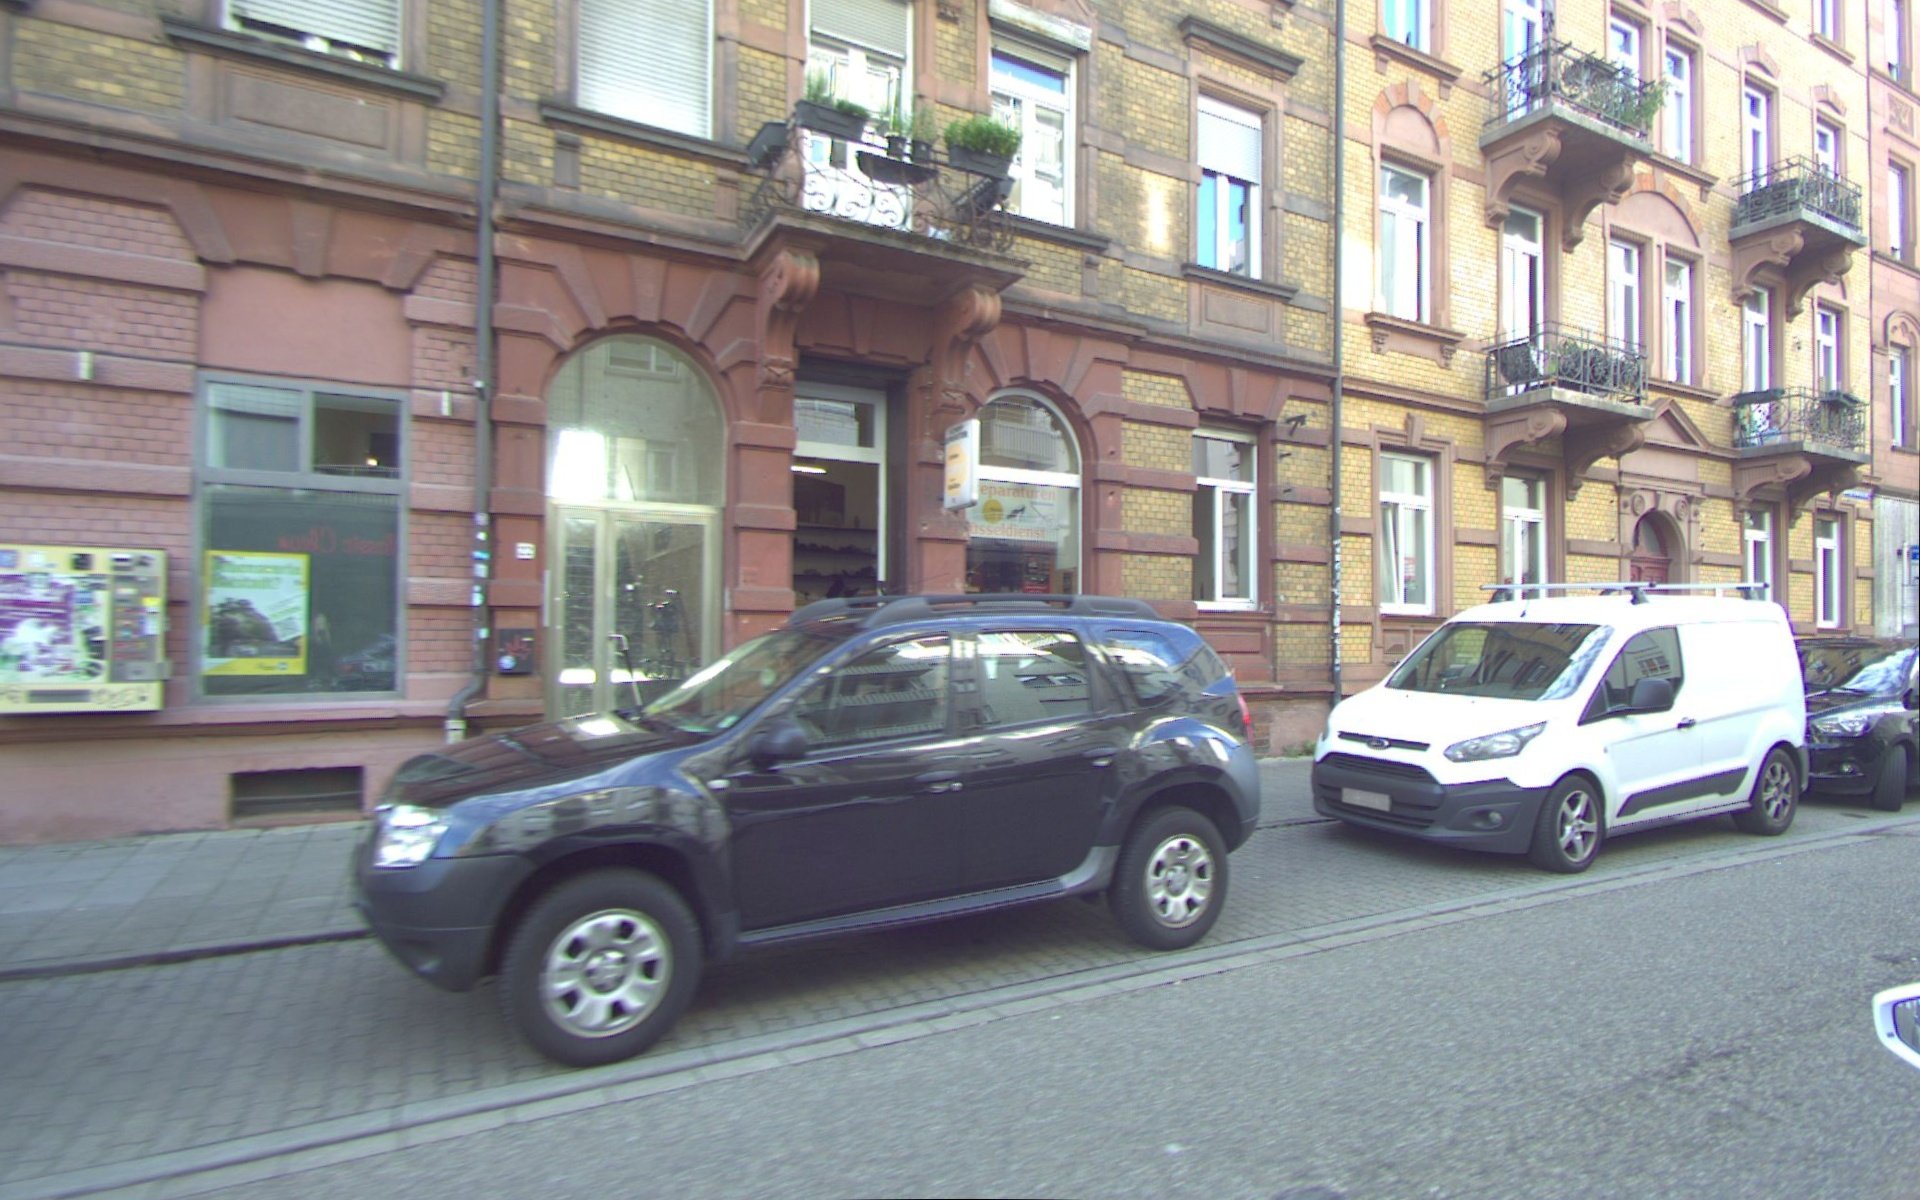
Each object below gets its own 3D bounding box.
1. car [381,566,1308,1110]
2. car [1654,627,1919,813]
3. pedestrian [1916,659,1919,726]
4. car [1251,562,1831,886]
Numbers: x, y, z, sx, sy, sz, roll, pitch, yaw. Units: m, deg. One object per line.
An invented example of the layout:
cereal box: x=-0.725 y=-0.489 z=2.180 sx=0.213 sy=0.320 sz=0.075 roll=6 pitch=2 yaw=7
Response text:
car: x=-0.473 y=0.779 z=4.977 sx=4.096 sy=1.660 sz=1.984 roll=1 pitch=-1 yaw=-30
car: x=8.957 y=1.082 z=10.041 sx=3.934 sy=1.503 sz=1.734 roll=2 pitch=-1 yaw=-28
pedestrian: x=16.286 y=1.177 z=16.430 sx=0.764 sy=1.814 sz=0.726 roll=1 pitch=2 yaw=-34
car: x=4.566 y=0.773 z=7.786 sx=4.382 sy=1.896 sz=1.912 roll=1 pitch=-1 yaw=-29
